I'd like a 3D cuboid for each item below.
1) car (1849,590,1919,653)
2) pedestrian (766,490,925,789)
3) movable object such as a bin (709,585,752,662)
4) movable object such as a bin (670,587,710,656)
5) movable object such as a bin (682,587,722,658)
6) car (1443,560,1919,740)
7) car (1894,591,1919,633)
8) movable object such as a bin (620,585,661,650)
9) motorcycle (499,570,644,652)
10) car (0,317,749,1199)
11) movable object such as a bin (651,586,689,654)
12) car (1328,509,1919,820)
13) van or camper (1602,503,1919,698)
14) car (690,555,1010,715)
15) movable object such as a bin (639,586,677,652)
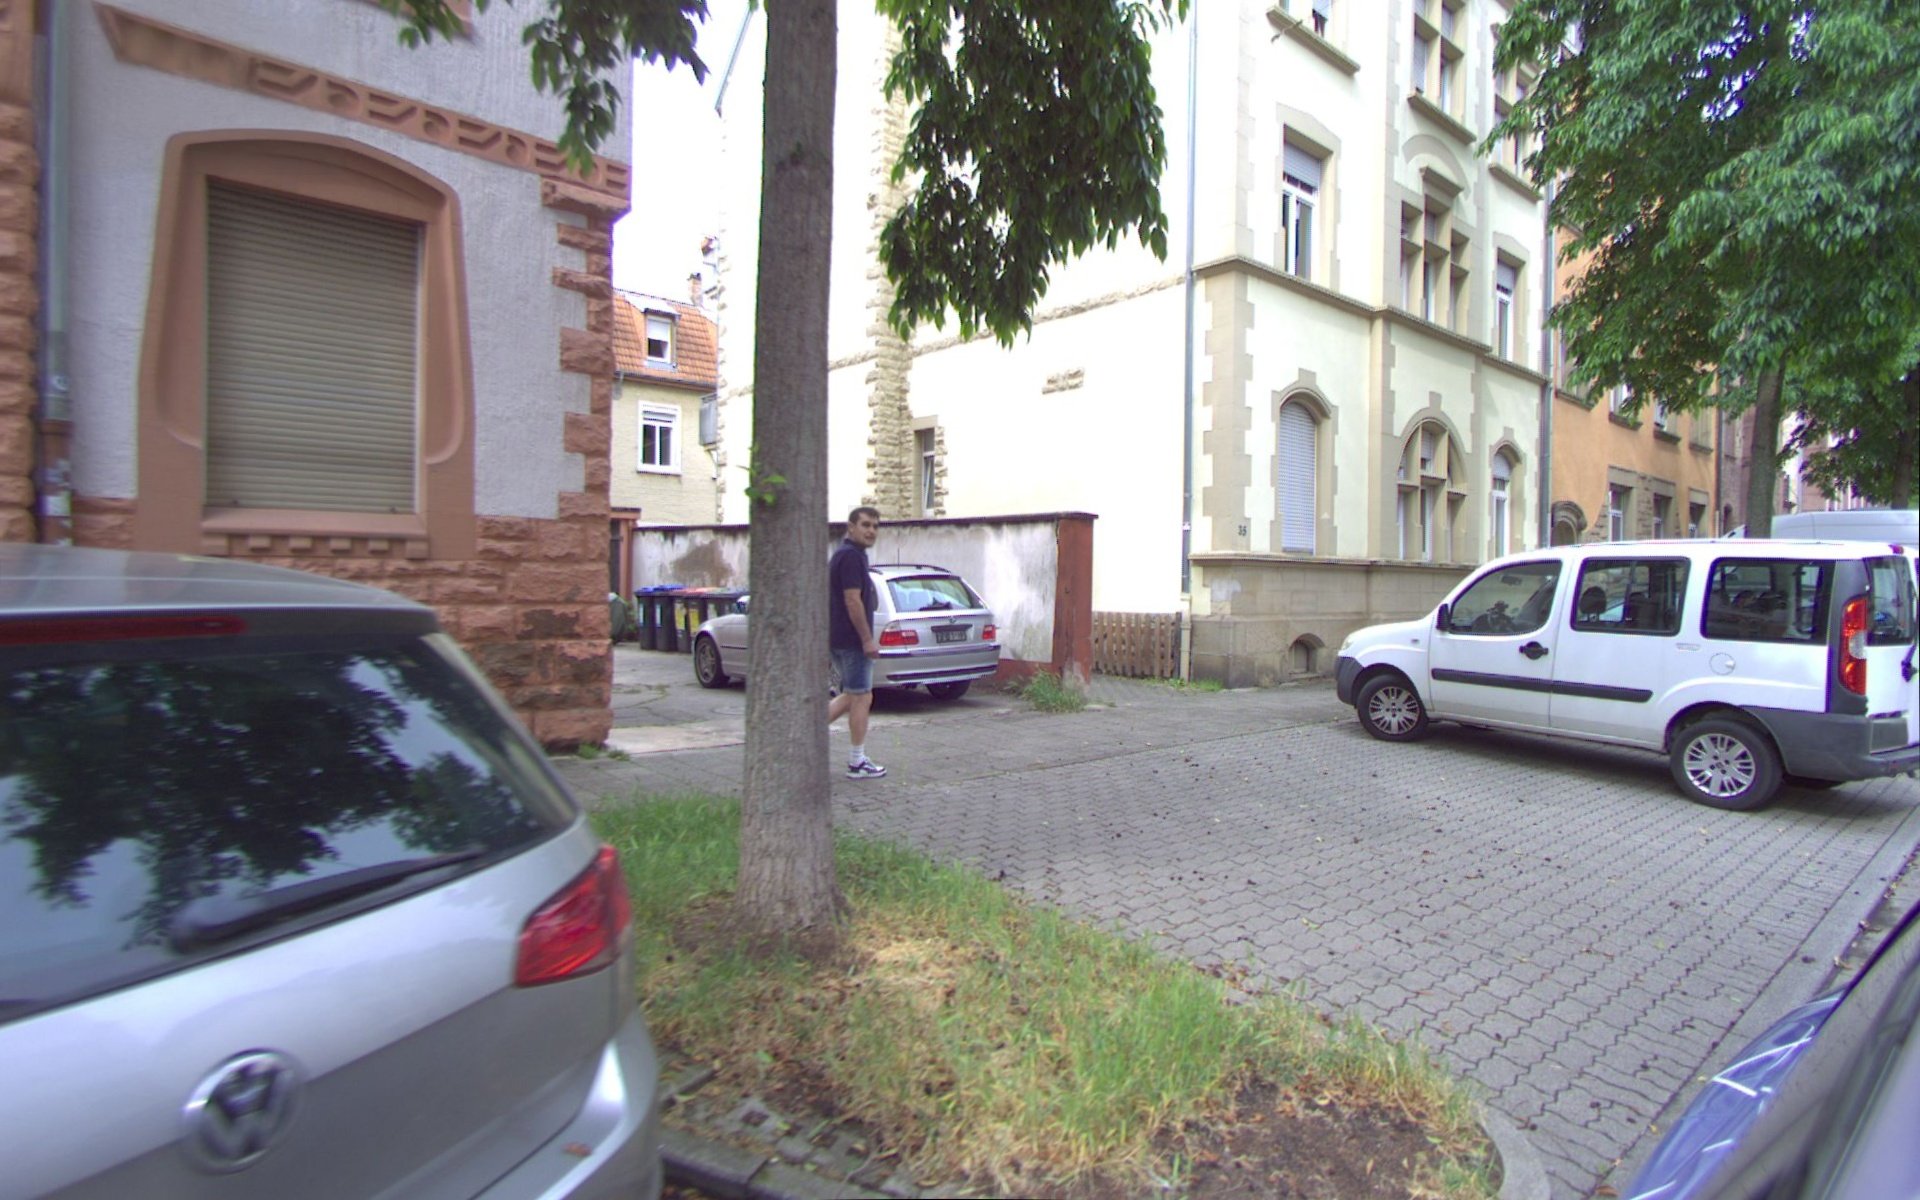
[{"bbox_3d":[23.904,0.513,24.226,3.559,1.485,1.621,0,0,18],"label":"car"},{"bbox_3d":[-0.763,0.238,6.740,0.802,1.835,0.702,0,0,-40],"label":"pedestrian"},{"bbox_3d":[-3.420,0.343,15.078,0.469,1.124,0.404,0,1,-41],"label":"movable object such as a bin"},{"bbox_3d":[-4.270,0.335,16.002,0.469,1.064,0.404,-1,0,-38],"label":"movable object such as a bin"},{"bbox_3d":[-3.980,0.333,15.614,0.469,1.064,0.404,-1,0,-38],"label":"movable object such as a bin"},{"bbox_3d":[7.650,0.428,10.878,4.225,1.637,1.751,1,1,20],"label":"car"},{"bbox_3d":[36.342,0.456,36.175,4.125,1.517,1.815,1,0,37],"label":"car"},{"bbox_3d":[-5.427,0.288,17.185,0.469,1.064,0.579,0,1,-41],"label":"movable object such as a bin"},{"bbox_3d":[-6.757,0.172,17.666,2.209,1.349,0.798,0,2,-38],"label":"motorcycle"},{"bbox_3d":[-2.344,0.497,2.046,3.435,1.583,1.770,0,0,27],"label":"car"},{"bbox_3d":[-4.711,0.317,16.448,0.469,1.064,0.404,0,1,-41],"label":"movable object such as a bin"},{"bbox_3d":[5.191,0.322,8.120,1.686,1.834,4.004,0,1,-32],"label":"car"},{"bbox_3d":[12.632,-0.030,14.834,5.005,2.623,2.061,1,1,20],"label":"van or camper"},{"bbox_3d":[-1.395,0.264,11.344,1.581,1.472,3.994,0,2,-41],"label":"car"},{"bbox_3d":[-5.017,0.307,16.796,0.469,1.064,0.404,0,1,-41],"label":"movable object such as a bin"}]
